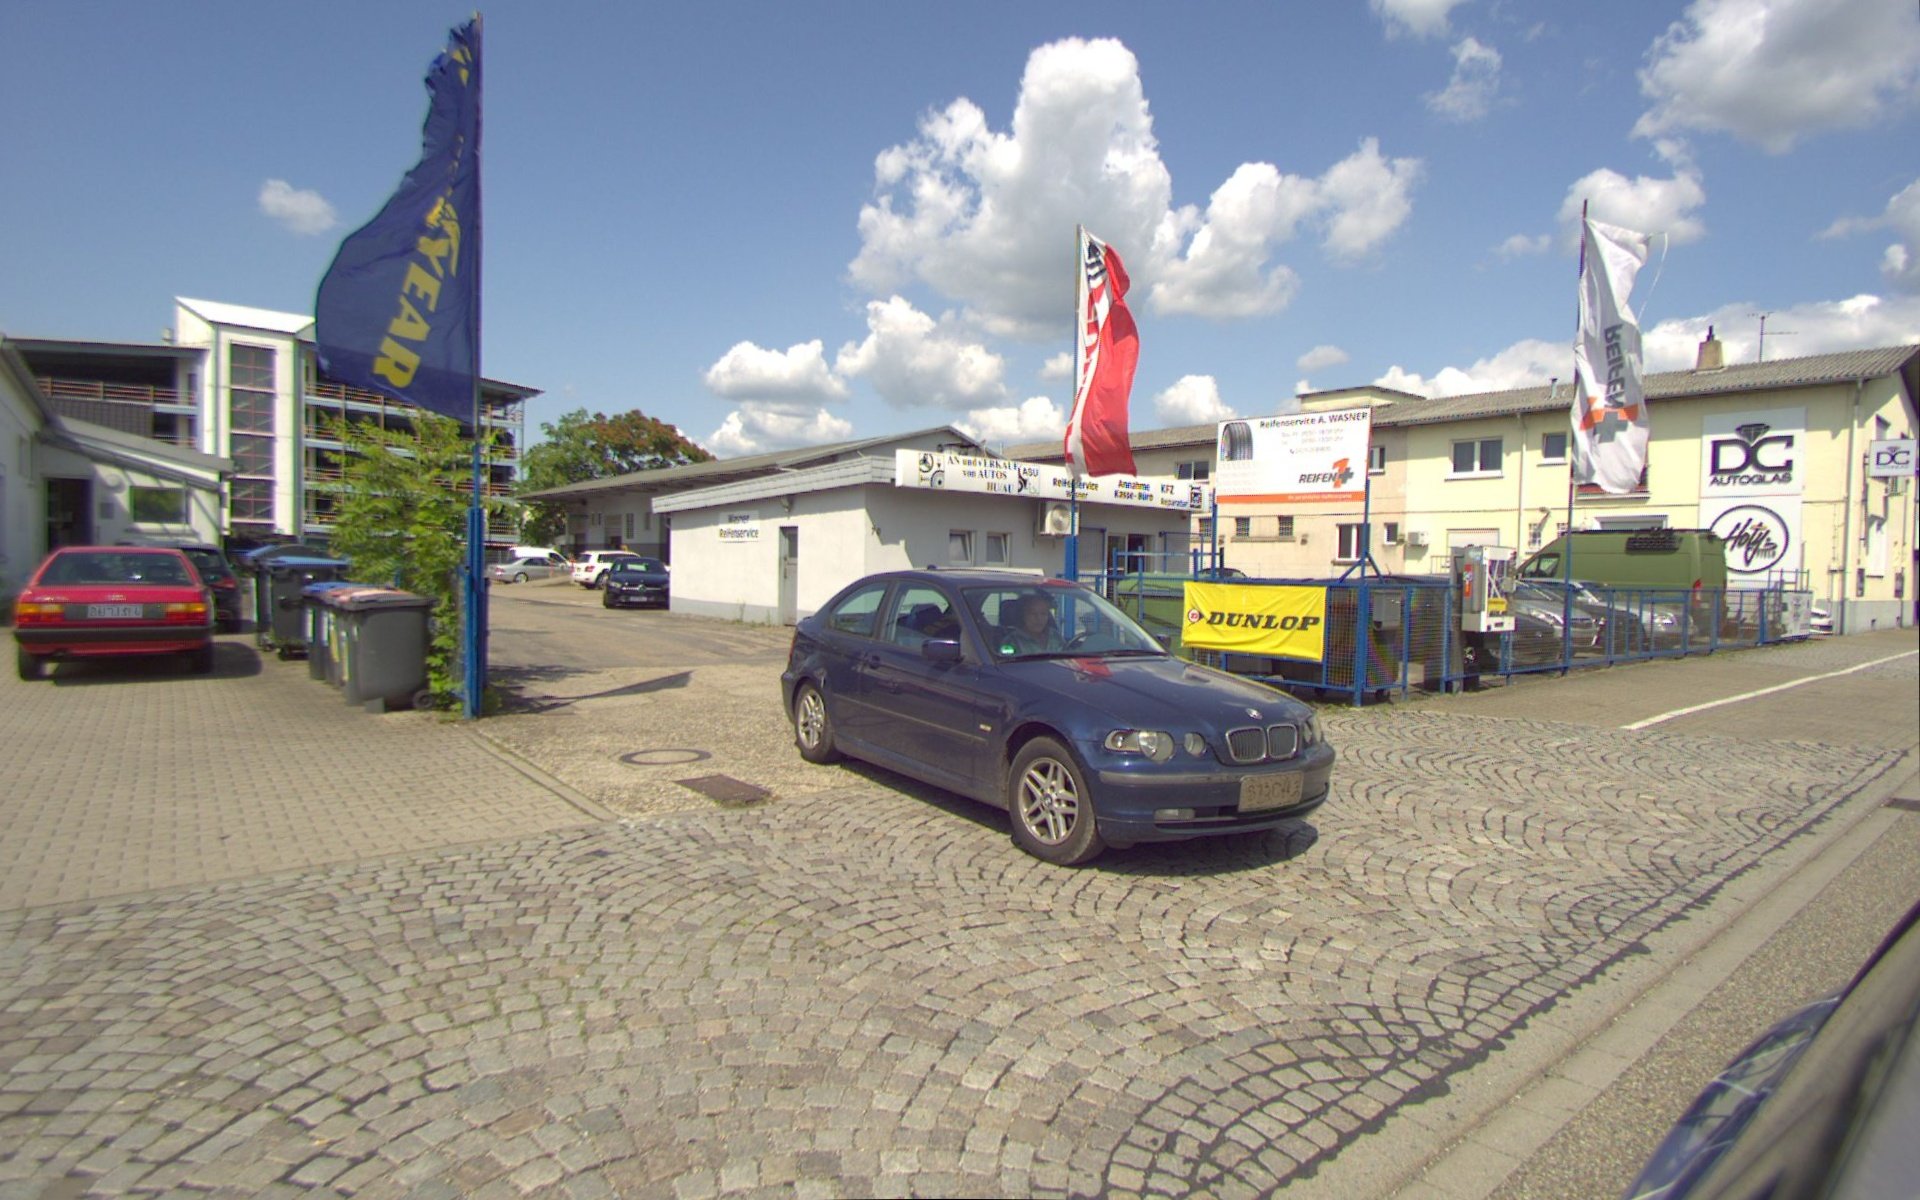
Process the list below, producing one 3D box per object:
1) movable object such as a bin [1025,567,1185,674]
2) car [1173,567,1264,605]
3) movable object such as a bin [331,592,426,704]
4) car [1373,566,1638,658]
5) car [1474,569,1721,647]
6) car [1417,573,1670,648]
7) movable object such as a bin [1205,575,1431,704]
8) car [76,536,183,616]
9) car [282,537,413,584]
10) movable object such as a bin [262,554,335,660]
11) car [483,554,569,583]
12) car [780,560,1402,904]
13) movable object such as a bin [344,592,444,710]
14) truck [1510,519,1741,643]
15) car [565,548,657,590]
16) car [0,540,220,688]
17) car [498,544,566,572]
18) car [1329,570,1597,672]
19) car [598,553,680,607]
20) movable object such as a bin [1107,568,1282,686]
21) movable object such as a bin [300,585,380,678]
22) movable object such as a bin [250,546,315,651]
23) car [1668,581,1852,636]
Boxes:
[{"bbox_3d":[2.094,0.255,14.611,1.734,1.427,1.535,-1,1,-40],"label":"movable object such as a bin"},{"bbox_3d":[9.024,-0.512,35.223,3.218,1.277,1.453,-1,1,-39],"label":"car"},{"bbox_3d":[-5.641,0.440,9.821,0.694,1.023,0.581,-1,1,-41],"label":"movable object such as a bin"},{"bbox_3d":[10.189,0.165,19.309,1.789,1.524,4.271,-1,1,-23],"label":"car"},{"bbox_3d":[13.867,0.128,22.282,1.791,1.526,4.266,-1,1,-31],"label":"car"},{"bbox_3d":[11.987,0.137,21.079,1.707,1.391,4.266,-1,2,-32],"label":"car"},{"bbox_3d":[4.234,0.398,12.035,1.678,1.364,1.966,-1,1,-40],"label":"movable object such as a bin"},{"bbox_3d":[-16.402,-0.531,20.111,1.500,1.442,3.594,-1,4,-38],"label":"car"},{"bbox_3d":[-28.282,-1.790,46.817,4.866,2.039,1.967,-2,1,-44],"label":"car"},{"bbox_3d":[-8.490,0.084,12.989,0.694,1.313,0.581,-1,1,-41],"label":"movable object such as a bin"},{"bbox_3d":[-21.998,-1.572,51.394,3.742,1.361,1.537,0,1,-45],"label":"car"},{"bbox_3d":[0.432,0.465,6.339,1.615,1.425,4.069,-1,3,-33],"label":"car"},{"bbox_3d":[-5.204,0.443,9.313,0.694,1.023,0.581,-1,1,-41],"label":"movable object such as a bin"},{"bbox_3d":[15.827,-0.453,24.247,2.070,2.694,4.181,-1,1,-38],"label":"truck"},{"bbox_3d":[-15.326,-1.350,44.537,3.536,1.764,1.538,0,1,-41],"label":"car"},{"bbox_3d":[-9.986,0.025,12.082,1.739,1.442,4.147,-1,4,-38],"label":"car"},{"bbox_3d":[-22.782,-2.230,53.926,3.093,1.394,1.380,0,1,-41],"label":"car"},{"bbox_3d":[8.210,0.240,16.921,1.592,1.481,3.918,-1,2,-23],"label":"car"},{"bbox_3d":[-8.667,-0.528,27.599,1.605,1.370,3.679,1,1,-9],"label":"car"},{"bbox_3d":[3.105,0.307,13.406,1.734,1.427,1.535,-1,1,-40],"label":"movable object such as a bin"},{"bbox_3d":[-7.099,0.340,11.594,0.694,1.023,0.581,-1,1,-41],"label":"movable object such as a bin"},{"bbox_3d":[-9.442,-0.036,14.101,0.694,1.408,0.581,0,2,-41],"label":"movable object such as a bin"},{"bbox_3d":[21.969,0.198,27.903,1.490,1.375,3.729,-1,1,-36],"label":"car"}]
